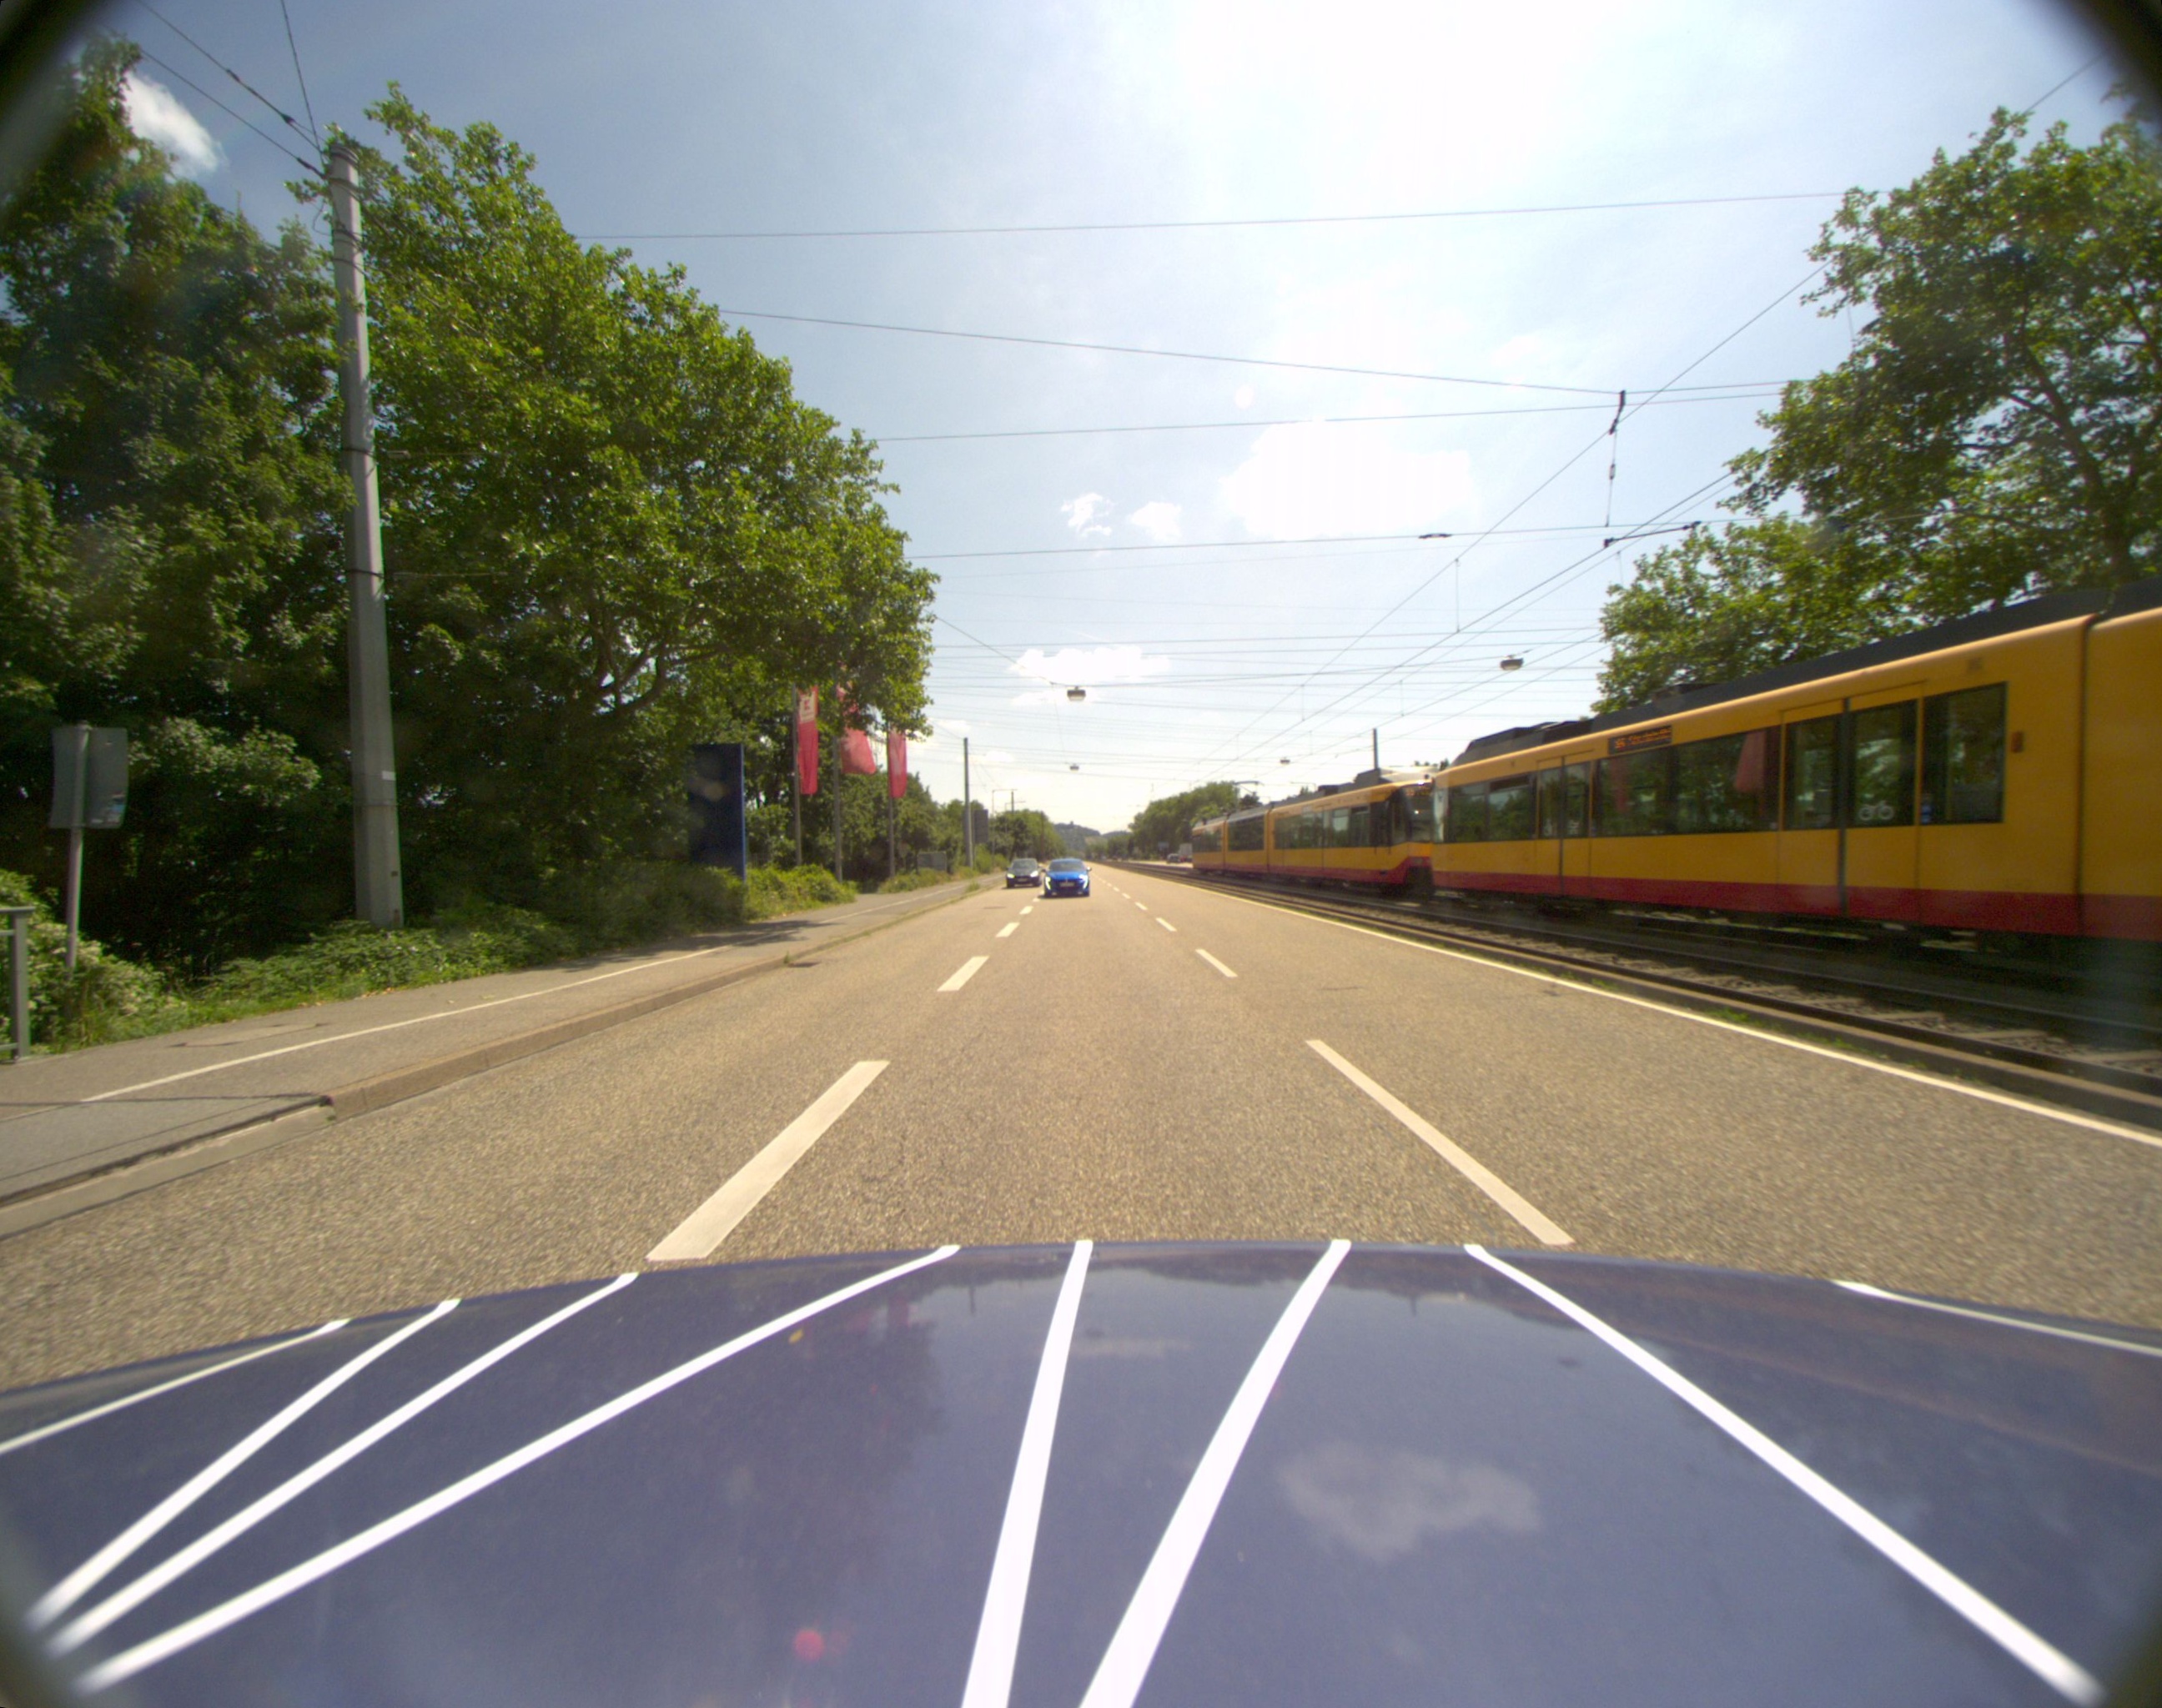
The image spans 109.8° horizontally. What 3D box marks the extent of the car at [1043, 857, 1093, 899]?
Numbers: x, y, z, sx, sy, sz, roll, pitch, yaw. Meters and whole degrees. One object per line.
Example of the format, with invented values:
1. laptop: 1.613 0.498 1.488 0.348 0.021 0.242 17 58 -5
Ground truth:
1. car: -0.510 0.883 30.139 1.771 1.463 4.467 -3 0 -1

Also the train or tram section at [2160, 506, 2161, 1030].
1. train or tram section: 10.016 -0.683 0.877 3.045 4.124 10.232 -1 0 0

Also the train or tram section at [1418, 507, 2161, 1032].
1. train or tram section: 10.052 -0.705 12.477 3.045 4.130 13.481 -1 0 0

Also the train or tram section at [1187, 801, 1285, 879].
1. train or tram section: 9.597 -0.778 49.445 3.056 4.242 15.421 -1 0 0

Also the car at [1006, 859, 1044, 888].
1. car: -3.011 1.012 41.718 1.771 1.422 4.000 -3 0 -1

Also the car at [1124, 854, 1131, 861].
1. car: 14.224 1.023 233.942 1.862 1.916 5.007 0 0 -1

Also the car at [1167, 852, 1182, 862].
1. car: 14.812 0.423 120.769 1.757 1.526 3.956 -1 0 -2

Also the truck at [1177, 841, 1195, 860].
1. truck: 18.233 -0.627 131.735 2.255 3.217 6.042 -1 0 1

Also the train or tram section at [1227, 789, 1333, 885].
1. train or tram section: 9.697 -0.751 38.121 3.056 4.242 8.001 -1 0 -1

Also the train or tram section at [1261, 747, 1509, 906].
1. train or tram section: 9.923 -0.754 27.636 3.056 4.242 14.033 -1 0 -1
